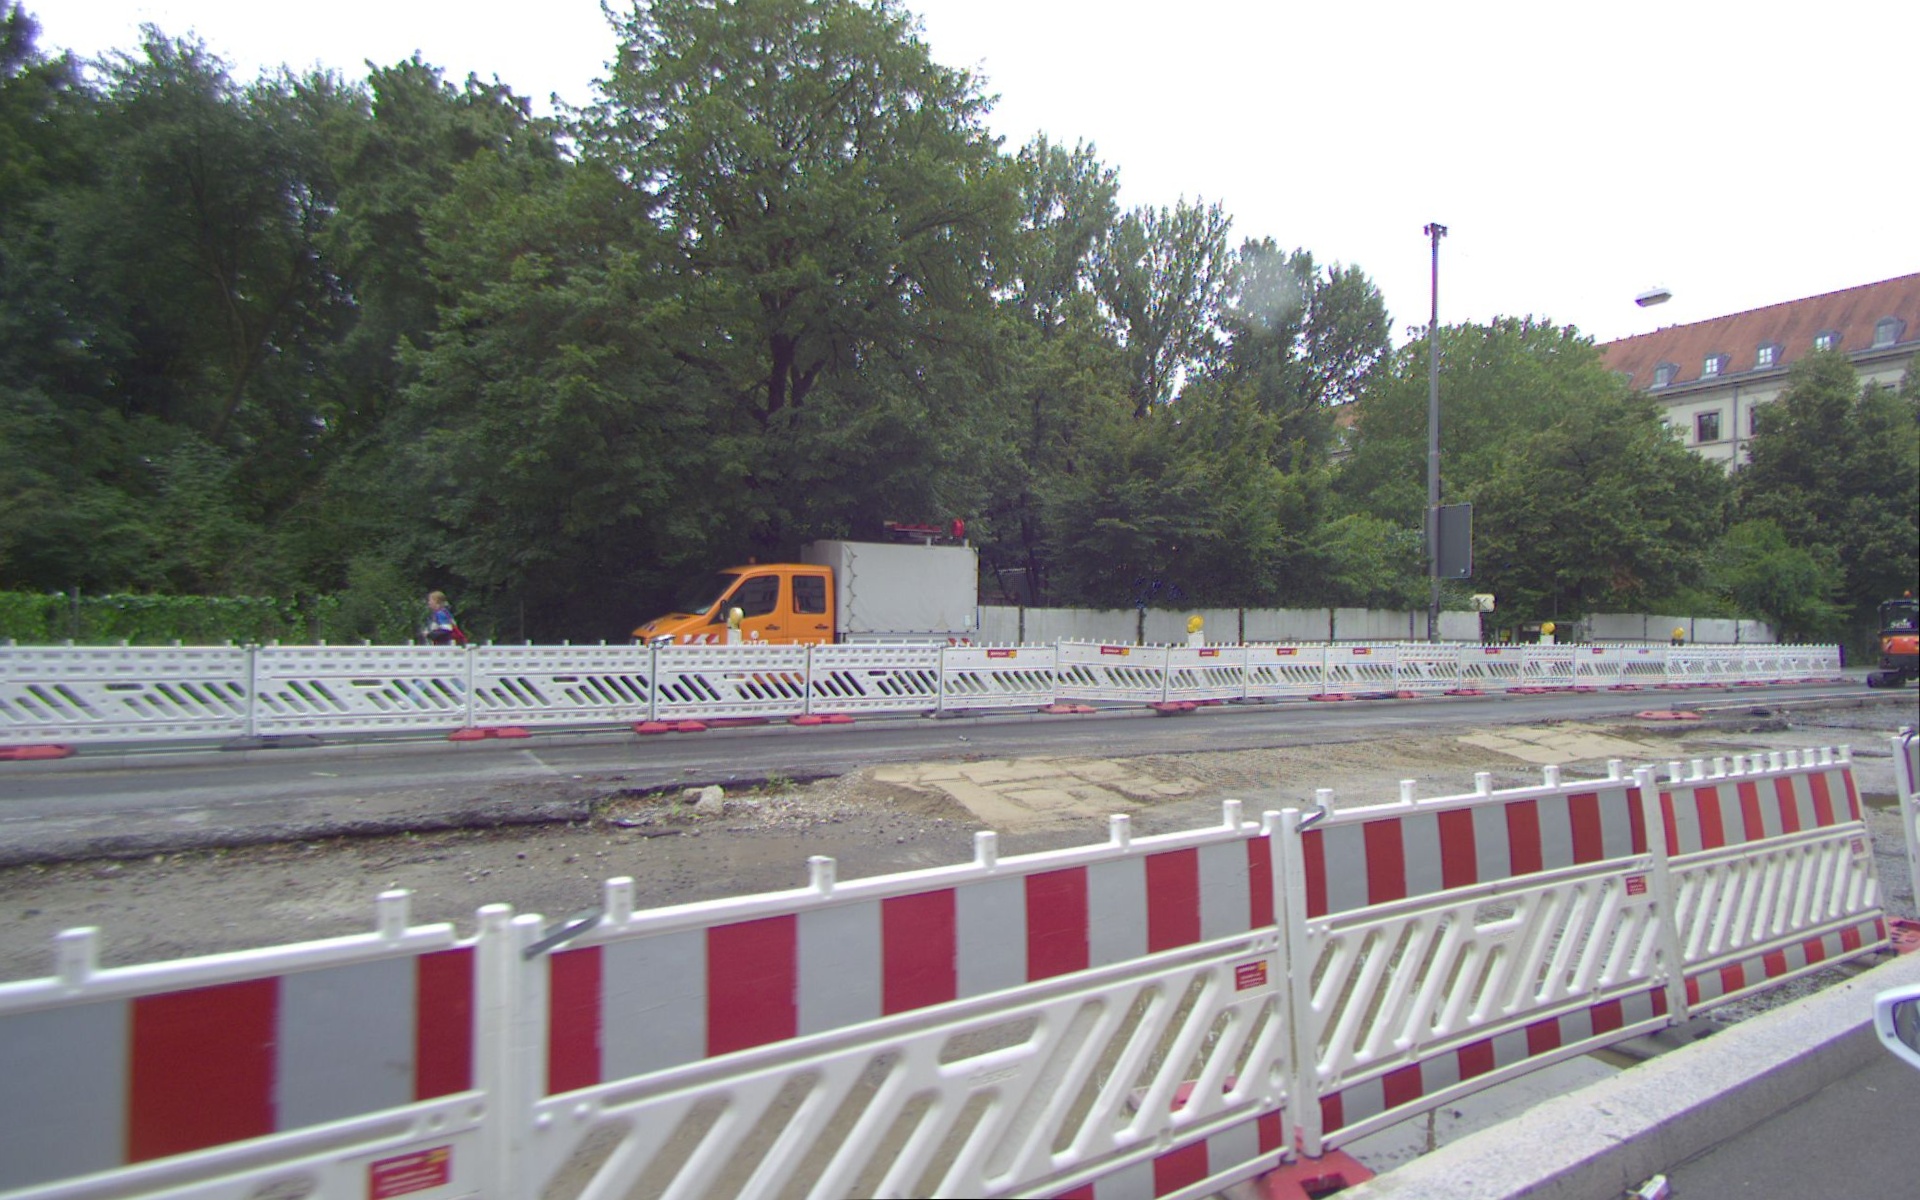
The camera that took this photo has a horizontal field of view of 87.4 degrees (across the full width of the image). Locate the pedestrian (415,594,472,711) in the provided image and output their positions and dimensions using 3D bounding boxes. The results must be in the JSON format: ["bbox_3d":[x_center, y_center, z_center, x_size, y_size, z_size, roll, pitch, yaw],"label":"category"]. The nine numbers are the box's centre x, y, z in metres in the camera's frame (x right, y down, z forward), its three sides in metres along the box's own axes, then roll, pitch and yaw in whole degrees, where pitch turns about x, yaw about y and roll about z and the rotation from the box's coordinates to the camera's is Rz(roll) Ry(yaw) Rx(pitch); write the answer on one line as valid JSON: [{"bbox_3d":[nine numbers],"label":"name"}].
[{"bbox_3d":[-7.430,0.732,14.445,0.690,1.624,0.660,1,0,-29],"label":"pedestrian"}]

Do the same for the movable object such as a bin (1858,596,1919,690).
[{"bbox_3d":[28.535,1.237,29.503,4.438,2.606,1.915,1,0,-30],"label":"movable object such as a bin"}]

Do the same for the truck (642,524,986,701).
[{"bbox_3d":[-2.523,0.253,18.044,5.801,2.765,1.984,1,-1,-30],"label":"truck"}]
